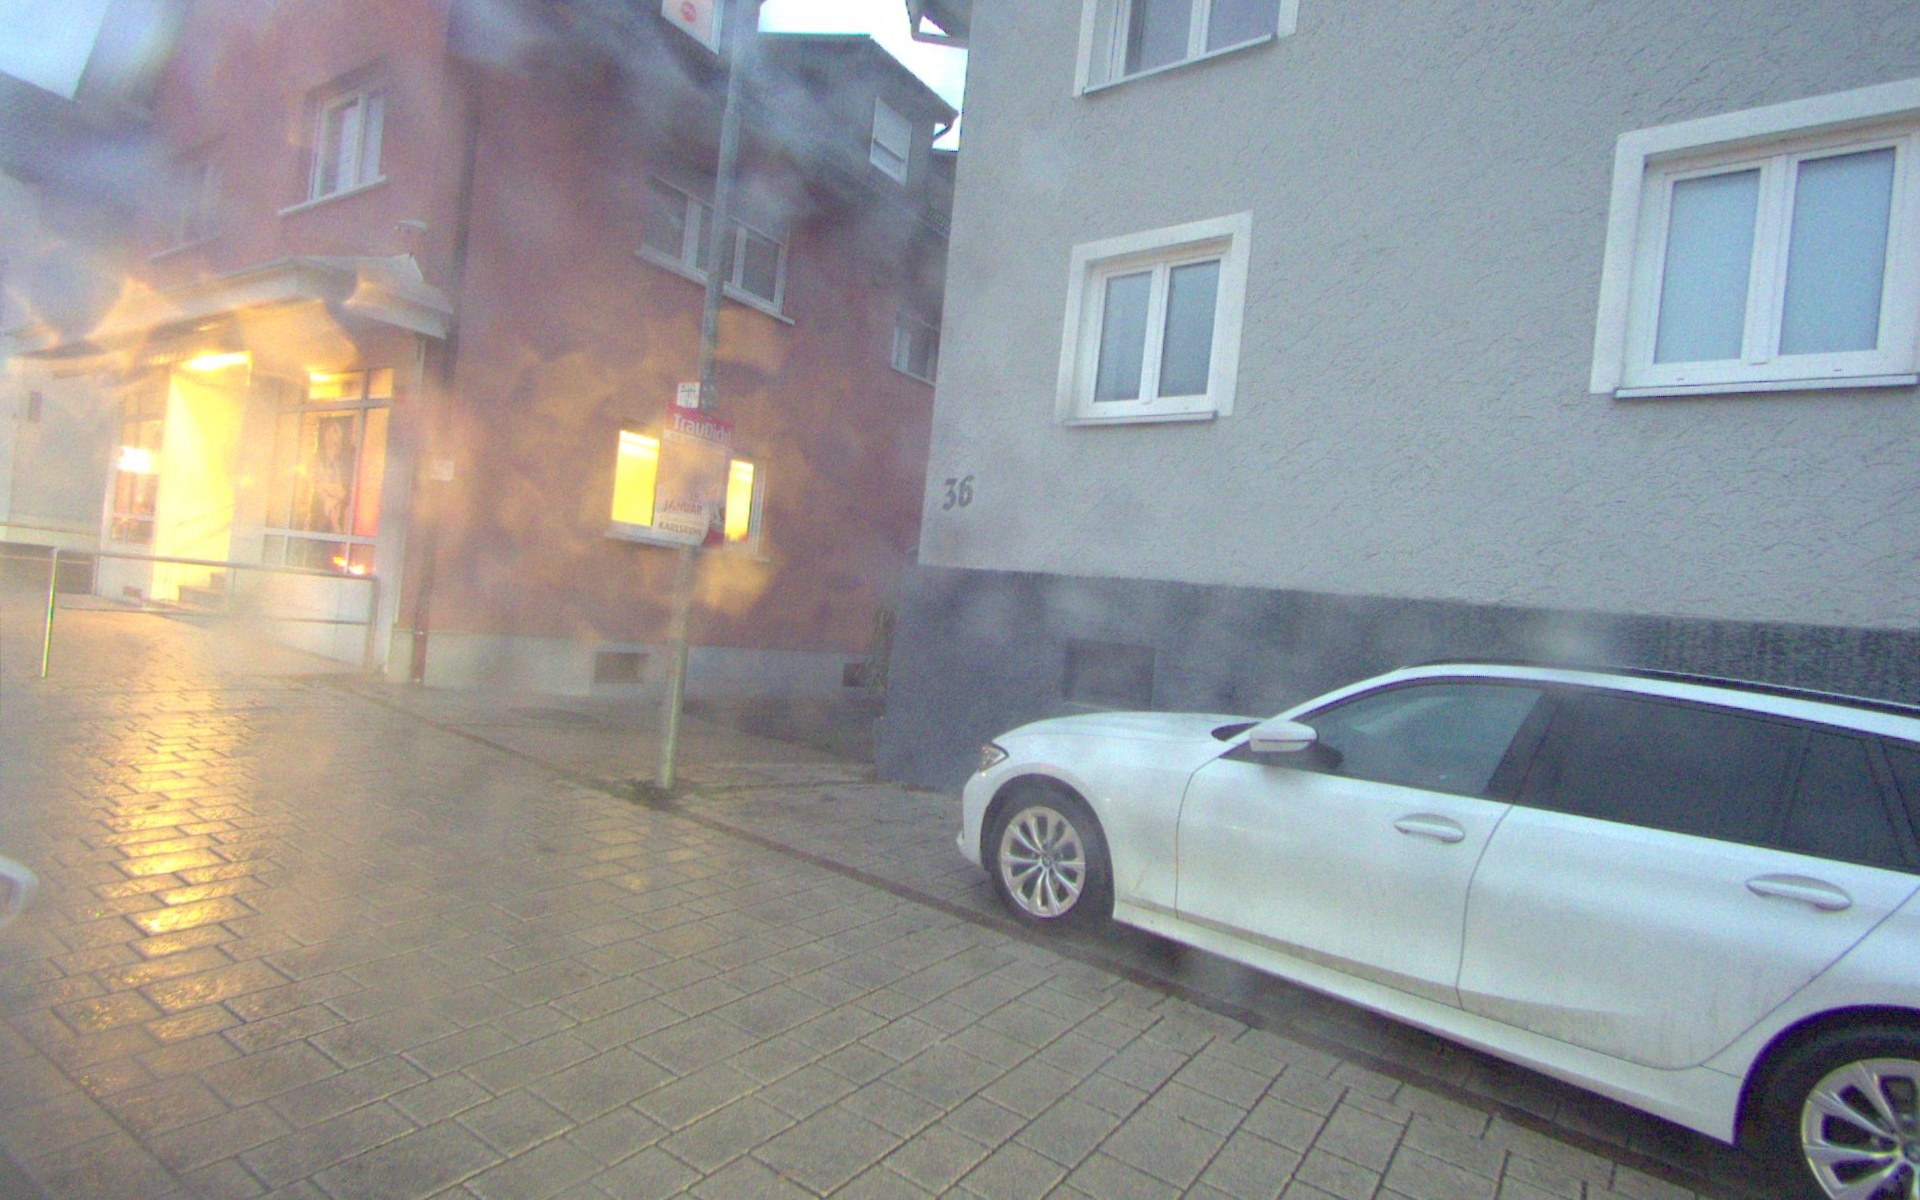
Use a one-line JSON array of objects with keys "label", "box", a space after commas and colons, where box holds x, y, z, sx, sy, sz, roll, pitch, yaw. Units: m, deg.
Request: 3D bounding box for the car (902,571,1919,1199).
[{"label": "car", "box": [2.075, 0.874, 4.048, 4.478, 1.485, 1.880, 7, 1, 41]}]
